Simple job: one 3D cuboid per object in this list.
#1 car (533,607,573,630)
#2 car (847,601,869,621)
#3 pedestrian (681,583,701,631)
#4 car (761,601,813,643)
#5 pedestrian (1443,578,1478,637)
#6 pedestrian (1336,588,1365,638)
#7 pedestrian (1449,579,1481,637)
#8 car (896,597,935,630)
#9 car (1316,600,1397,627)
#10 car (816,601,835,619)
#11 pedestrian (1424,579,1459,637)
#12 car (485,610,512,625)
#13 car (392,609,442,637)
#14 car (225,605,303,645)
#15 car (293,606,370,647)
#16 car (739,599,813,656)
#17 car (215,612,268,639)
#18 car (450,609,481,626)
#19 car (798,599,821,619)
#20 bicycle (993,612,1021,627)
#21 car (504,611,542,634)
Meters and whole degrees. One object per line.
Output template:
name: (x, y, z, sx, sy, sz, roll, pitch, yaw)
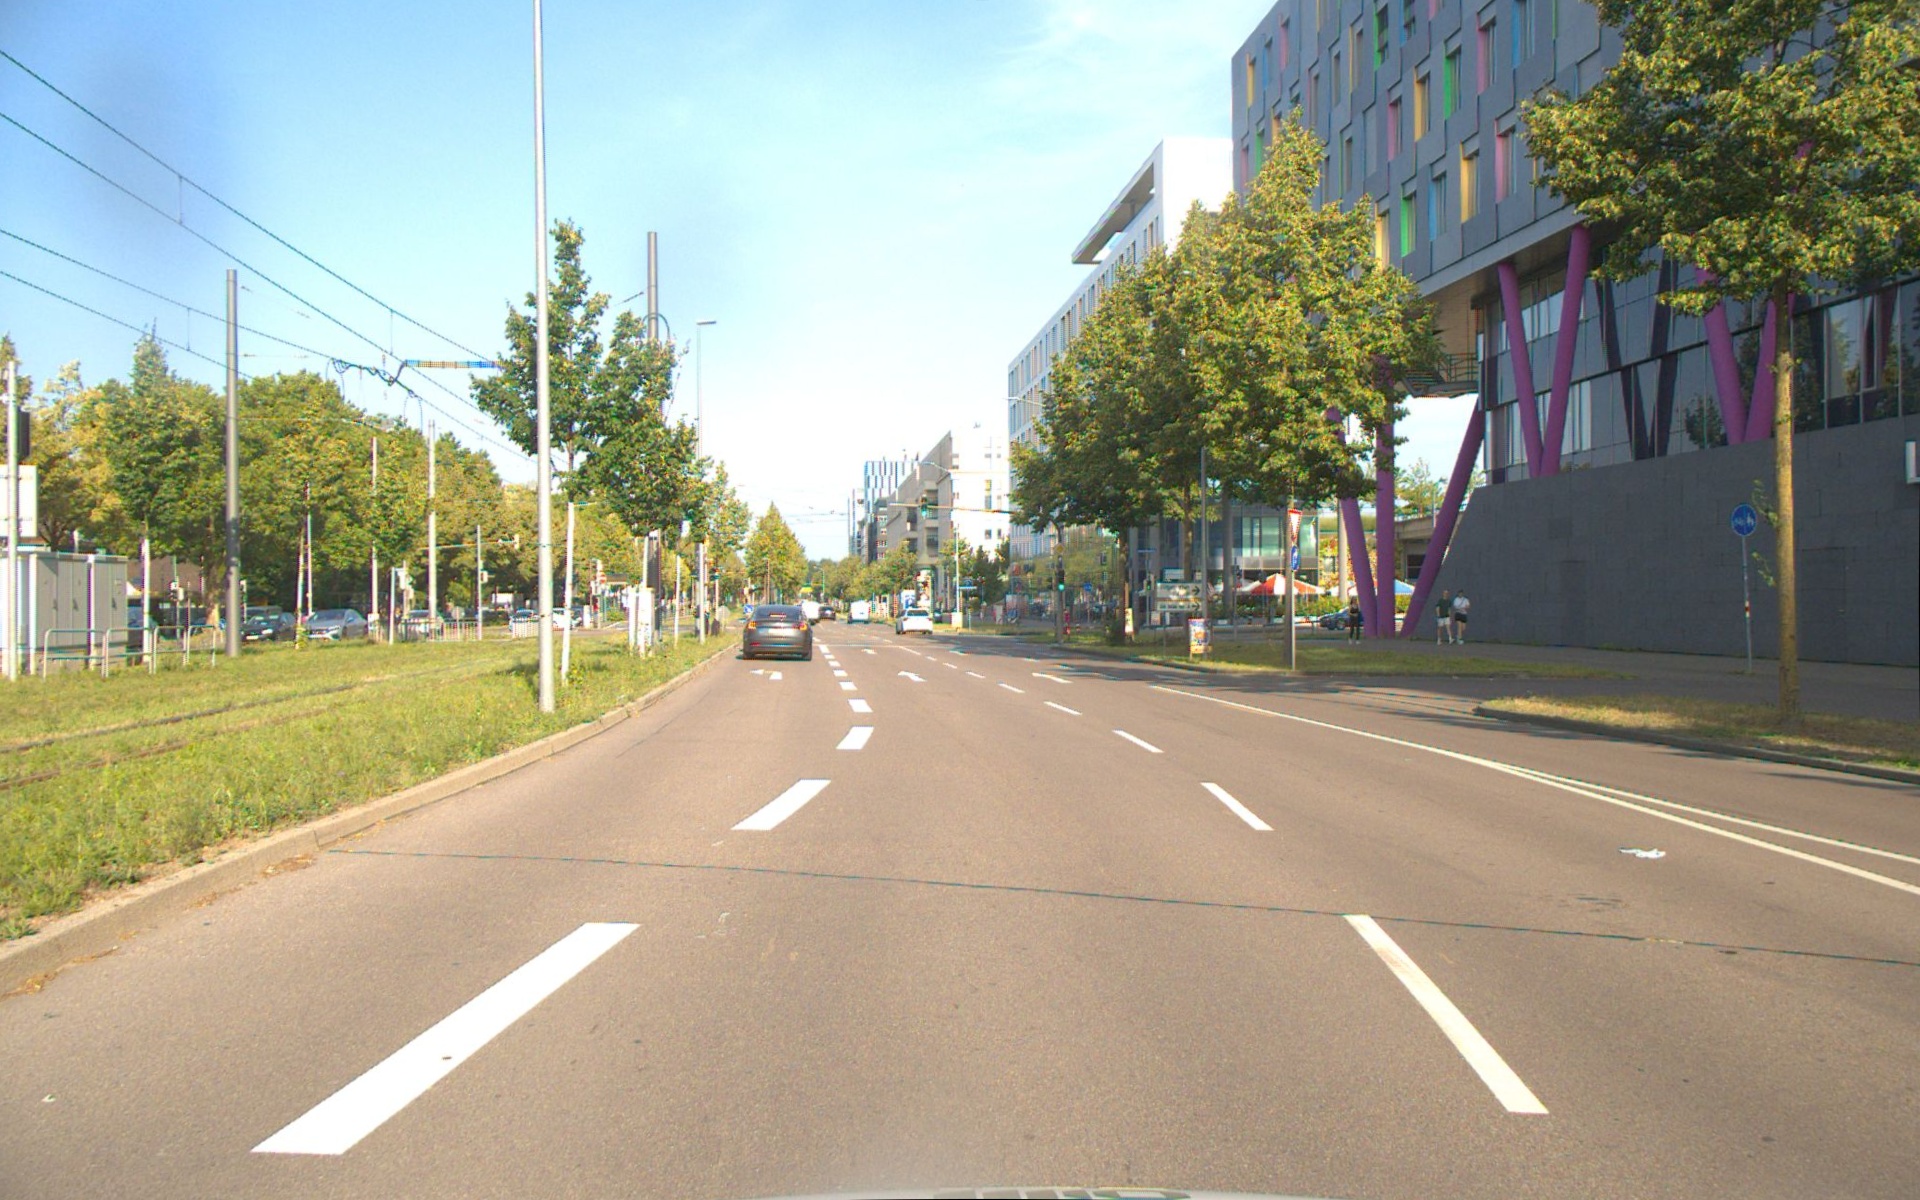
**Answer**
car: (-27.377, 1.275, 111.367, 1.955, 1.530, 4.088, 0, -1, -5)
car: (-9.184, 0.940, 148.096, 1.828, 1.713, 3.996, 1, 0, -5)
pedestrian: (-10.477, 0.269, 64.468, 0.686, 1.823, 0.634, 1, -1, -6)
car: (-6.120, 0.747, 58.369, 1.730, 1.353, 4.393, 1, 0, -7)
pedestrian: (15.959, 0.238, 52.751, 0.753, 1.857, 0.851, -2, 0, -7)
pedestrian: (13.492, 0.445, 57.144, 0.681, 1.667, 0.735, -2, 0, -7)
pedestrian: (16.146, 0.248, 52.878, 0.644, 1.824, 0.785, -3, 0, -7)
car: (-2.473, 0.708, 91.082, 1.828, 1.713, 3.996, 1, 0, -5)
car: (22.716, 0.767, 94.810, 4.104, 1.449, 1.856, -1, 0, -7)
car: (-13.782, 1.039, 169.825, 1.886, 1.713, 3.996, 1, 0, -5)
pedestrian: (15.331, 0.256, 52.673, 0.740, 1.825, 0.842, -2, 0, -7)
car: (-49.337, 1.837, 176.836, 1.843, 1.587, 3.999, -1, -1, -1)
car: (-32.463, 1.353, 98.998, 1.869, 1.554, 4.436, 0, 0, -6)
car: (-31.257, 1.088, 74.436, 1.955, 1.717, 4.610, 0, 0, -6)
car: (-27.331, 1.138, 72.057, 1.957, 1.554, 4.904, -4, 1, -8)
car: (-4.932, 0.709, 44.480, 1.853, 1.410, 4.329, 1, 0, -6)
car: (-48.123, 1.715, 110.890, 1.843, 1.780, 3.999, -1, -1, -1)
car: (-49.103, 1.751, 164.327, 1.843, 1.587, 3.999, -1, -1, -1)
car: (-13.481, 0.764, 148.268, 1.975, 1.713, 3.996, 1, 0, -5)
bicycle: (3.229, 1.349, 114.280, 1.844, 1.050, 0.769, -1, -1, 41)
car: (-31.253, 1.600, 118.333, 1.955, 1.554, 4.306, 0, 0, -6)
